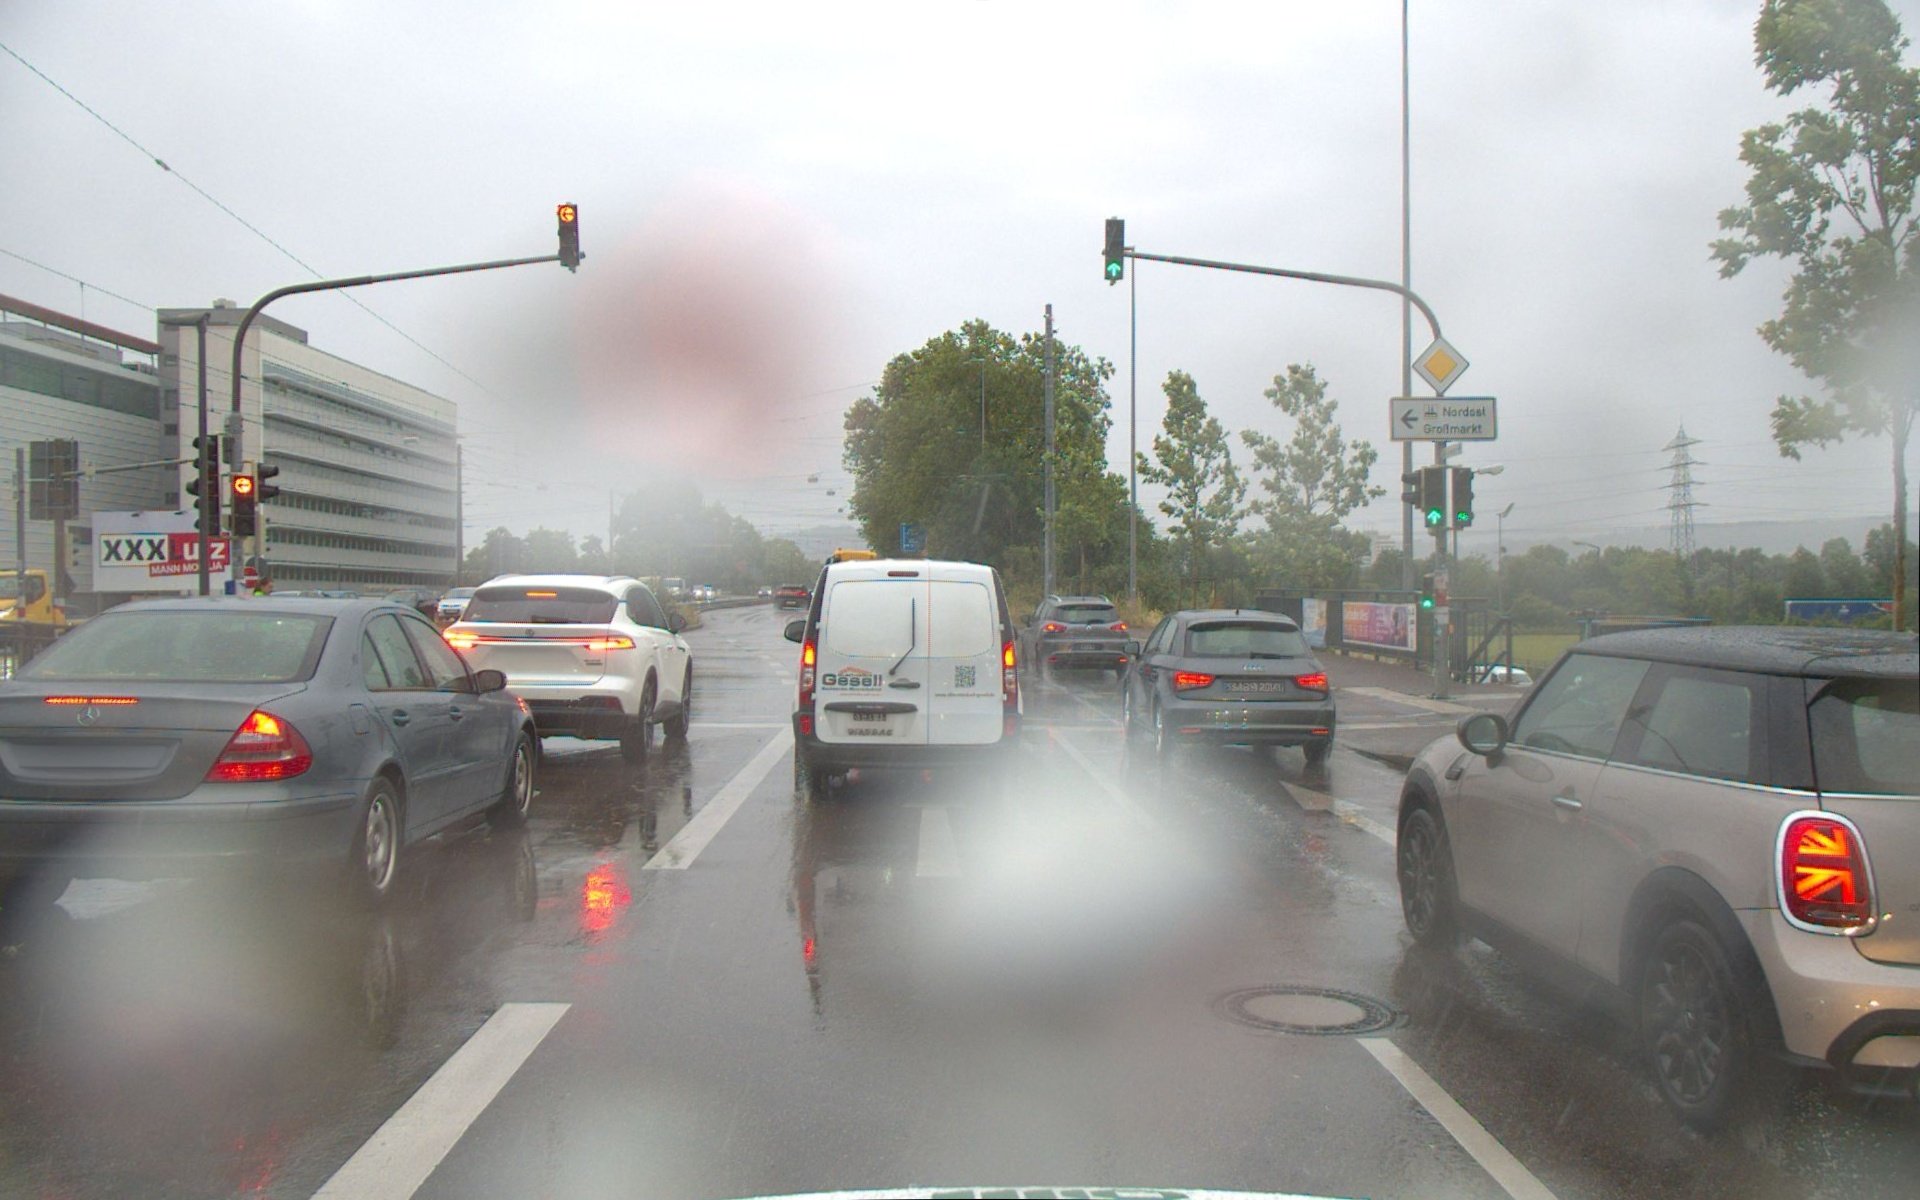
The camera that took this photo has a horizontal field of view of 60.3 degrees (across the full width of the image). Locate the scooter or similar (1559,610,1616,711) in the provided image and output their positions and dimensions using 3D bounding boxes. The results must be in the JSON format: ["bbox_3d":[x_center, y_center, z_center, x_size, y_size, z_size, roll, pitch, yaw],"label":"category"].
[{"bbox_3d":[7.542,0.709,19.905,0.240,1.178,1.186,1,-1,1],"label":"scooter or similar"}]

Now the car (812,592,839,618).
[{"bbox_3d":[-10.083,0.414,124.099,1.955,1.892,3.996,1,-1,-5],"label":"car"}]

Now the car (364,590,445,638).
[{"bbox_3d":[-22.043,0.580,65.800,1.808,1.829,3.999,0,-2,0],"label":"car"}]

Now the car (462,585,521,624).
[{"bbox_3d":[-25.506,0.239,90.183,1.952,2.049,4.001,1,0,2],"label":"car"}]

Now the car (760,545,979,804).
[{"bbox_3d":[-0.663,0.539,13.687,1.534,1.819,3.999,0,0,-1],"label":"car"}]

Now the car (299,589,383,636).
[{"bbox_3d":[-24.807,0.539,66.433,1.693,1.690,3.538,1,-3,6],"label":"car"}]

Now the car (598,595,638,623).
[{"bbox_3d":[-22.563,0.603,109.298,1.786,1.839,3.769,1,0,1],"label":"car"}]

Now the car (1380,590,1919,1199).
[{"bbox_3d":[2.872,0.754,5.971,1.679,1.534,3.622,1,0,-2],"label":"car"}]

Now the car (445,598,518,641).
[{"bbox_3d":[-21.410,0.875,74.145,1.889,1.859,4.002,1,0,4],"label":"car"}]

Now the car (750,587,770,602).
[{"bbox_3d":[-25.963,-0.704,214.853,1.952,1.788,4.000,1,0,1],"label":"car"}]

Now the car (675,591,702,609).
[{"bbox_3d":[-27.188,-0.023,165.687,1.952,1.738,4.000,1,0,1],"label":"car"}]

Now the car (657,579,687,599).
[{"bbox_3d":[-26.241,-0.979,150.906,1.952,1.692,4.000,1,0,1],"label":"car"}]

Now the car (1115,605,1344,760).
[{"bbox_3d":[2.593,0.754,16.646,1.596,1.368,3.622,1,0,-2],"label":"car"}]

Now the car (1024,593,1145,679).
[{"bbox_3d":[2.246,0.616,30.707,1.822,1.453,3.806,1,0,-2],"label":"car"}]

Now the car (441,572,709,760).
[{"bbox_3d":[-3.560,0.538,16.048,1.694,1.562,4.296,1,0,-2],"label":"car"}]

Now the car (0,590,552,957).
[{"bbox_3d":[-3.592,0.705,8.793,1.726,1.423,4.644,1,-1,-1],"label":"car"}]

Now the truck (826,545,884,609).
[{"bbox_3d":[-4.983,-1.029,78.527,2.580,2.865,7.140,1,0,-4],"label":"truck"}]

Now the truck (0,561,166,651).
[{"bbox_3d":[-25.431,0.171,46.493,2.303,2.319,7.634,1,0,2],"label":"truck"}]

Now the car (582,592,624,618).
[{"bbox_3d":[-22.006,0.311,102.135,1.727,1.577,3.680,1,0,1],"label":"car"}]

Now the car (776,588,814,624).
[{"bbox_3d":[-9.149,0.351,91.568,1.956,1.892,3.994,1,0,-7],"label":"car"}]

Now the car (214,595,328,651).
[{"bbox_3d":[-22.427,0.750,53.996,1.853,1.729,4.001,1,0,3],"label":"car"}]
